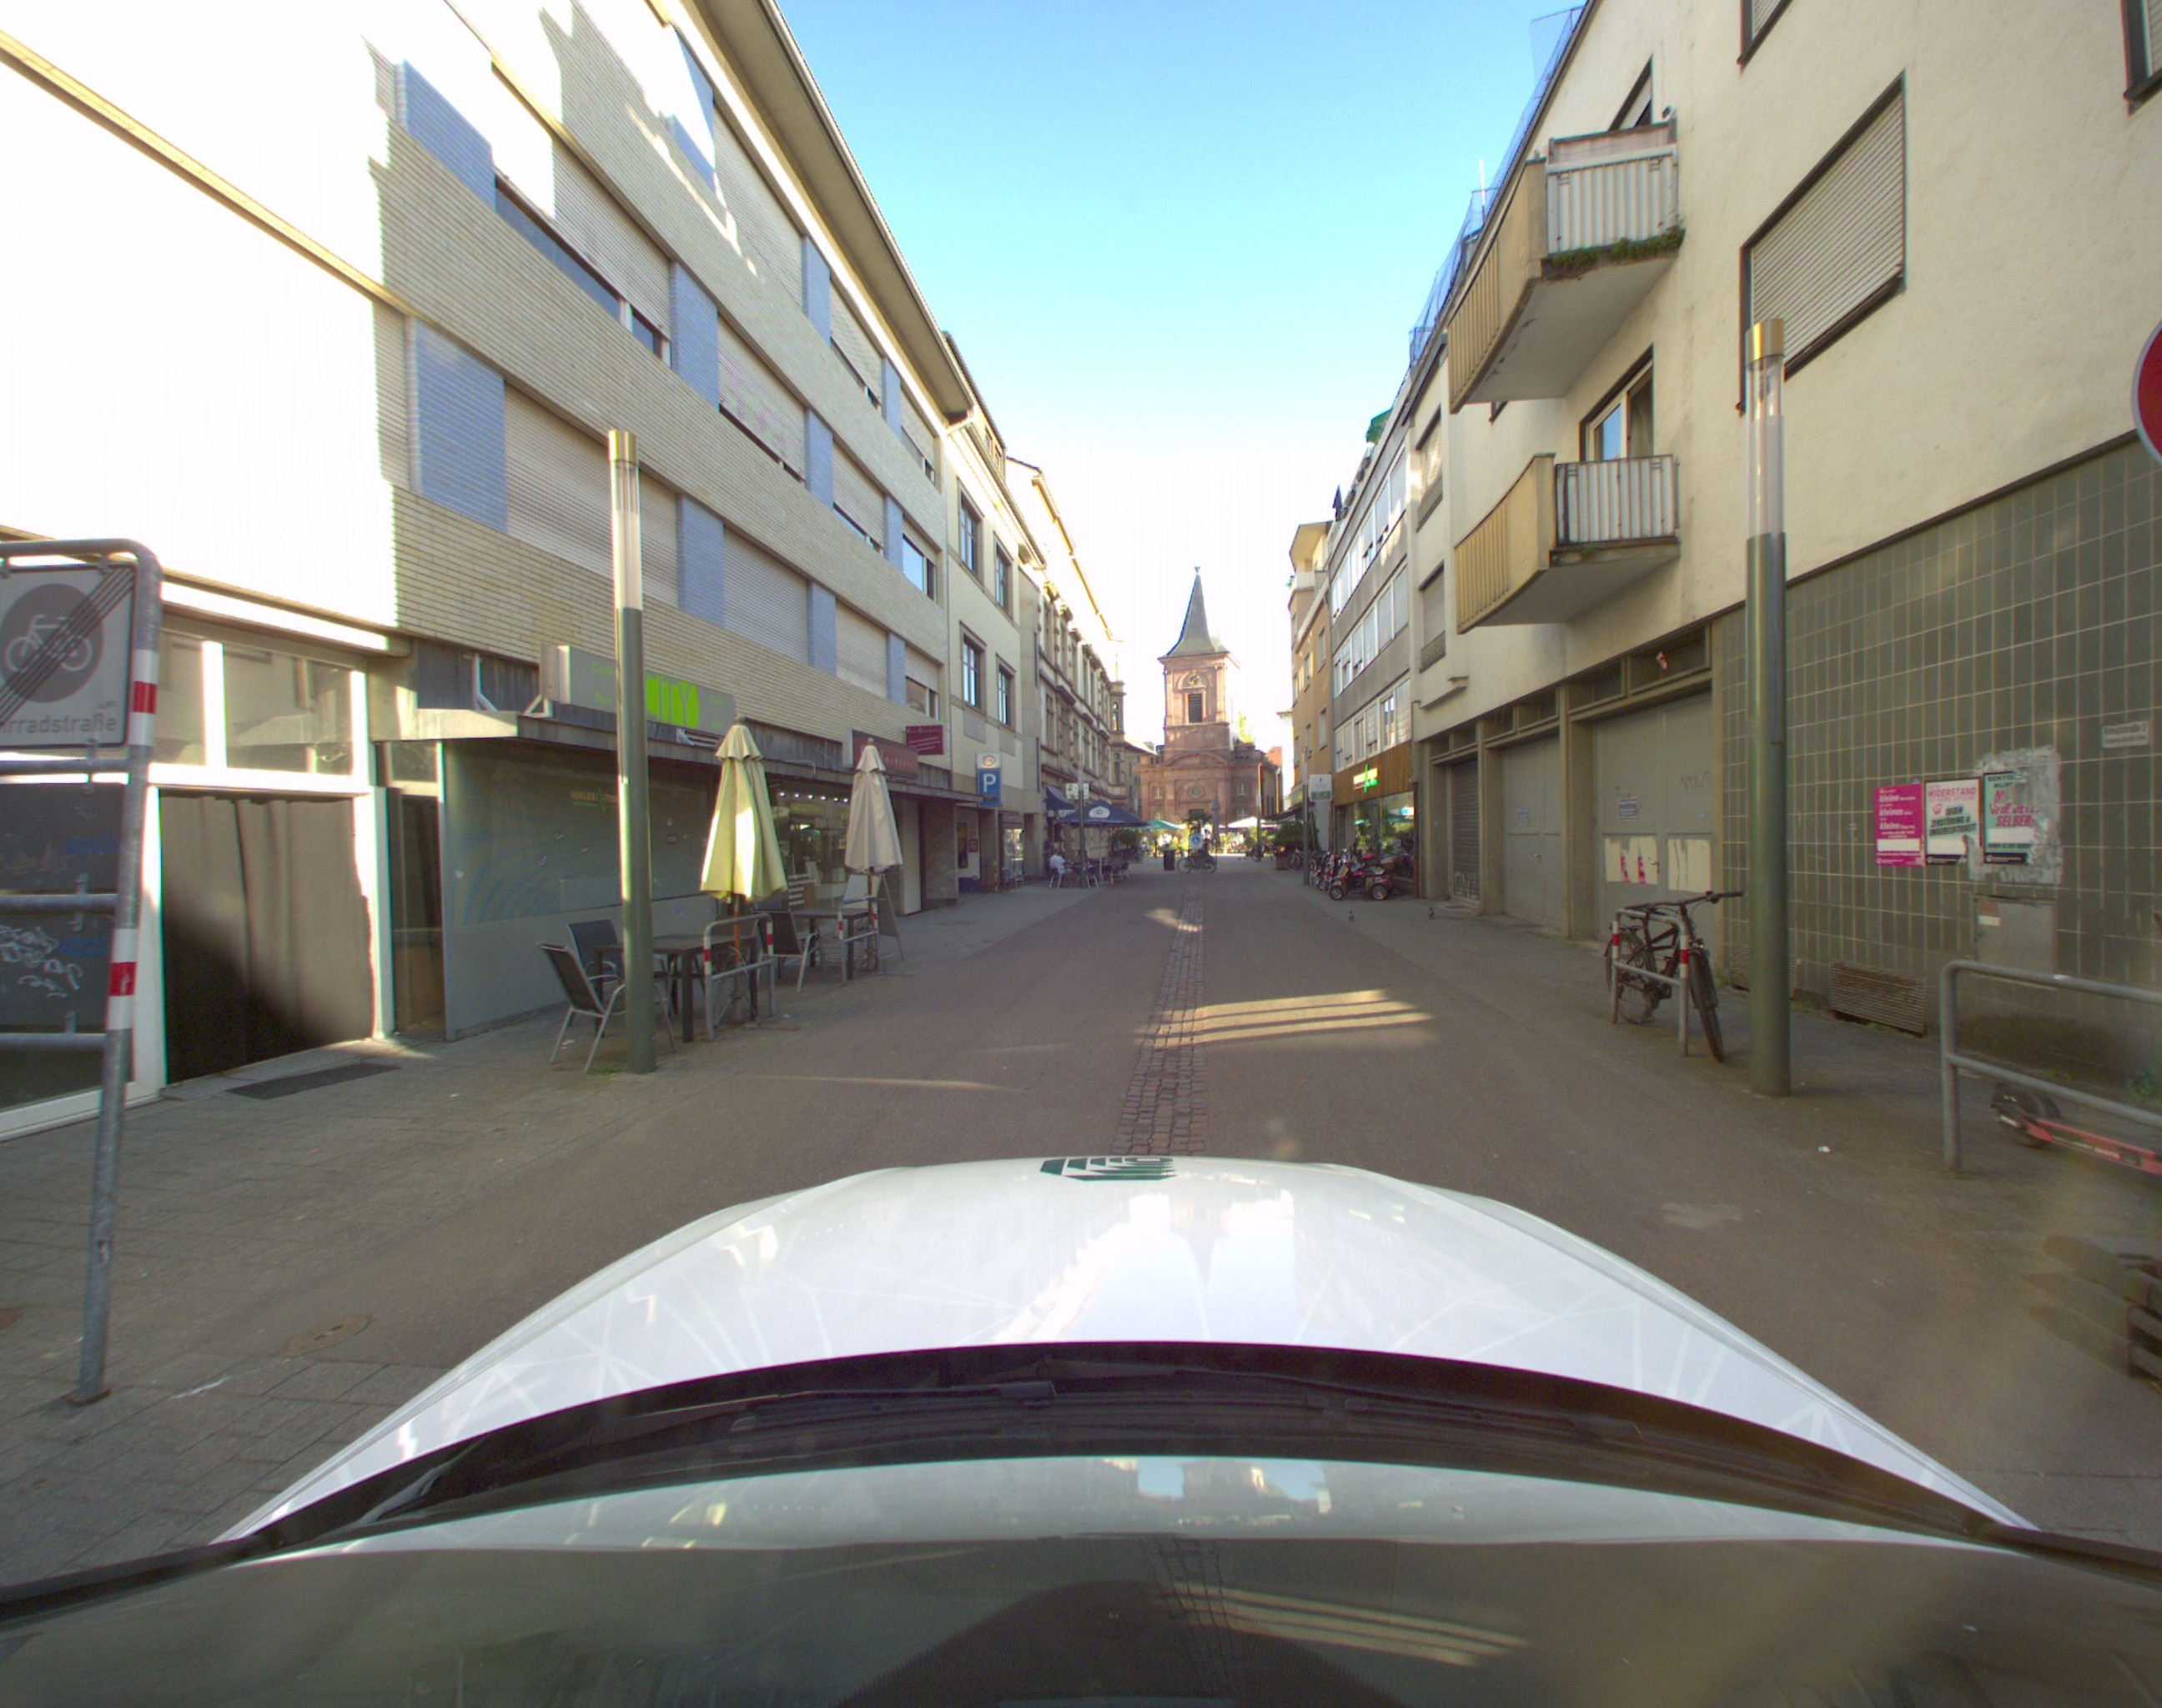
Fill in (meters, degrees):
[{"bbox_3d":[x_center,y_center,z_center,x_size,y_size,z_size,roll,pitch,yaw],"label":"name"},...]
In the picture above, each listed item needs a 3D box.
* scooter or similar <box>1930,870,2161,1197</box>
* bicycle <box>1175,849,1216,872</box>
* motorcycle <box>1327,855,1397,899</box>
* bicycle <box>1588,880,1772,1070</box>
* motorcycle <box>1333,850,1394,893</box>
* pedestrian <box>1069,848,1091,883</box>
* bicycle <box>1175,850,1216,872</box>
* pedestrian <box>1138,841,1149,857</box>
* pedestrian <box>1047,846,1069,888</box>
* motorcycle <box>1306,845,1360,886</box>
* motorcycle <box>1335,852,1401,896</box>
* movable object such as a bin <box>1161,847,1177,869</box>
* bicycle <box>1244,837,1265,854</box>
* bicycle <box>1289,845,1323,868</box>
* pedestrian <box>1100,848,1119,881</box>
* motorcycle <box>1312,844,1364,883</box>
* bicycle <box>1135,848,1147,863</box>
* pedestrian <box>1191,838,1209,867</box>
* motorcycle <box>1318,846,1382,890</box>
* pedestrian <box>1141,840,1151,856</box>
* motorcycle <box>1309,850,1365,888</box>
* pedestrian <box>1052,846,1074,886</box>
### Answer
[{"bbox_3d":[4.433,0.719,3.517,0.305,1.252,1.241,-1,0,5],"label":"scooter or similar"},{"bbox_3d":[5.223,0.310,37.180,1.815,1.004,0.382,-1,1,5],"label":"bicycle"},{"bbox_3d":[6.822,0.569,19.819,1.549,1.041,0.375,-2,0,26],"label":"motorcycle"},{"bbox_3d":[4.305,0.787,5.990,0.443,1.140,1.716,-1,0,13],"label":"bicycle"},{"bbox_3d":[7.469,0.465,21.536,1.470,1.075,0.414,-2,0,26],"label":"motorcycle"},{"bbox_3d":[-0.038,0.417,30.296,0.762,1.233,0.831,-1,1,0],"label":"pedestrian"},{"bbox_3d":[5.269,0.323,37.571,1.815,1.004,0.382,-1,1,5],"label":"bicycle"},{"bbox_3d":[4.902,-0.402,64.111,0.695,1.218,0.722,-1,1,14],"label":"pedestrian"},{"bbox_3d":[-0.776,0.424,27.579,0.706,1.368,0.719,-1,1,-4],"label":"pedestrian"},{"bbox_3d":[7.557,0.349,24.433,1.470,1.181,0.414,-2,0,23],"label":"motorcycle"},{"bbox_3d":[7.241,0.502,20.541,1.502,1.075,0.414,-2,0,26],"label":"motorcycle"},{"bbox_3d":[4.397,0.220,40.651,0.717,1.074,0.375,-1,1,6],"label":"movable object such as a bin"},{"bbox_3d":[13.237,-0.663,62.154,1.592,1.308,0.363,-2,1,-21],"label":"bicycle"},{"bbox_3d":[9.975,0.113,36.143,1.452,1.004,0.575,-1,1,15],"label":"bicycle"},{"bbox_3d":[1.067,0.387,30.895,0.690,1.215,0.583,-1,1,0],"label":"pedestrian"},{"bbox_3d":[8.000,0.302,25.383,1.470,1.181,0.414,-2,0,23],"label":"motorcycle"},{"bbox_3d":[3.670,0.074,49.872,0.453,0.849,2.153,-1,1,12],"label":"bicycle"},{"bbox_3d":[6.111,-0.070,41.679,0.878,1.464,0.733,-1,1,9],"label":"pedestrian"},{"bbox_3d":[7.499,0.388,22.734,1.609,1.175,0.483,-2,0,26],"label":"motorcycle"},{"bbox_3d":[5.214,-0.494,65.515,0.695,1.218,0.722,-1,1,14],"label":"pedestrian"},{"bbox_3d":[7.405,0.434,23.608,1.470,1.075,0.414,-2,0,26],"label":"motorcycle"},{"bbox_3d":[-0.653,0.399,28.746,0.716,1.368,0.709,-1,1,-4],"label":"pedestrian"}]
